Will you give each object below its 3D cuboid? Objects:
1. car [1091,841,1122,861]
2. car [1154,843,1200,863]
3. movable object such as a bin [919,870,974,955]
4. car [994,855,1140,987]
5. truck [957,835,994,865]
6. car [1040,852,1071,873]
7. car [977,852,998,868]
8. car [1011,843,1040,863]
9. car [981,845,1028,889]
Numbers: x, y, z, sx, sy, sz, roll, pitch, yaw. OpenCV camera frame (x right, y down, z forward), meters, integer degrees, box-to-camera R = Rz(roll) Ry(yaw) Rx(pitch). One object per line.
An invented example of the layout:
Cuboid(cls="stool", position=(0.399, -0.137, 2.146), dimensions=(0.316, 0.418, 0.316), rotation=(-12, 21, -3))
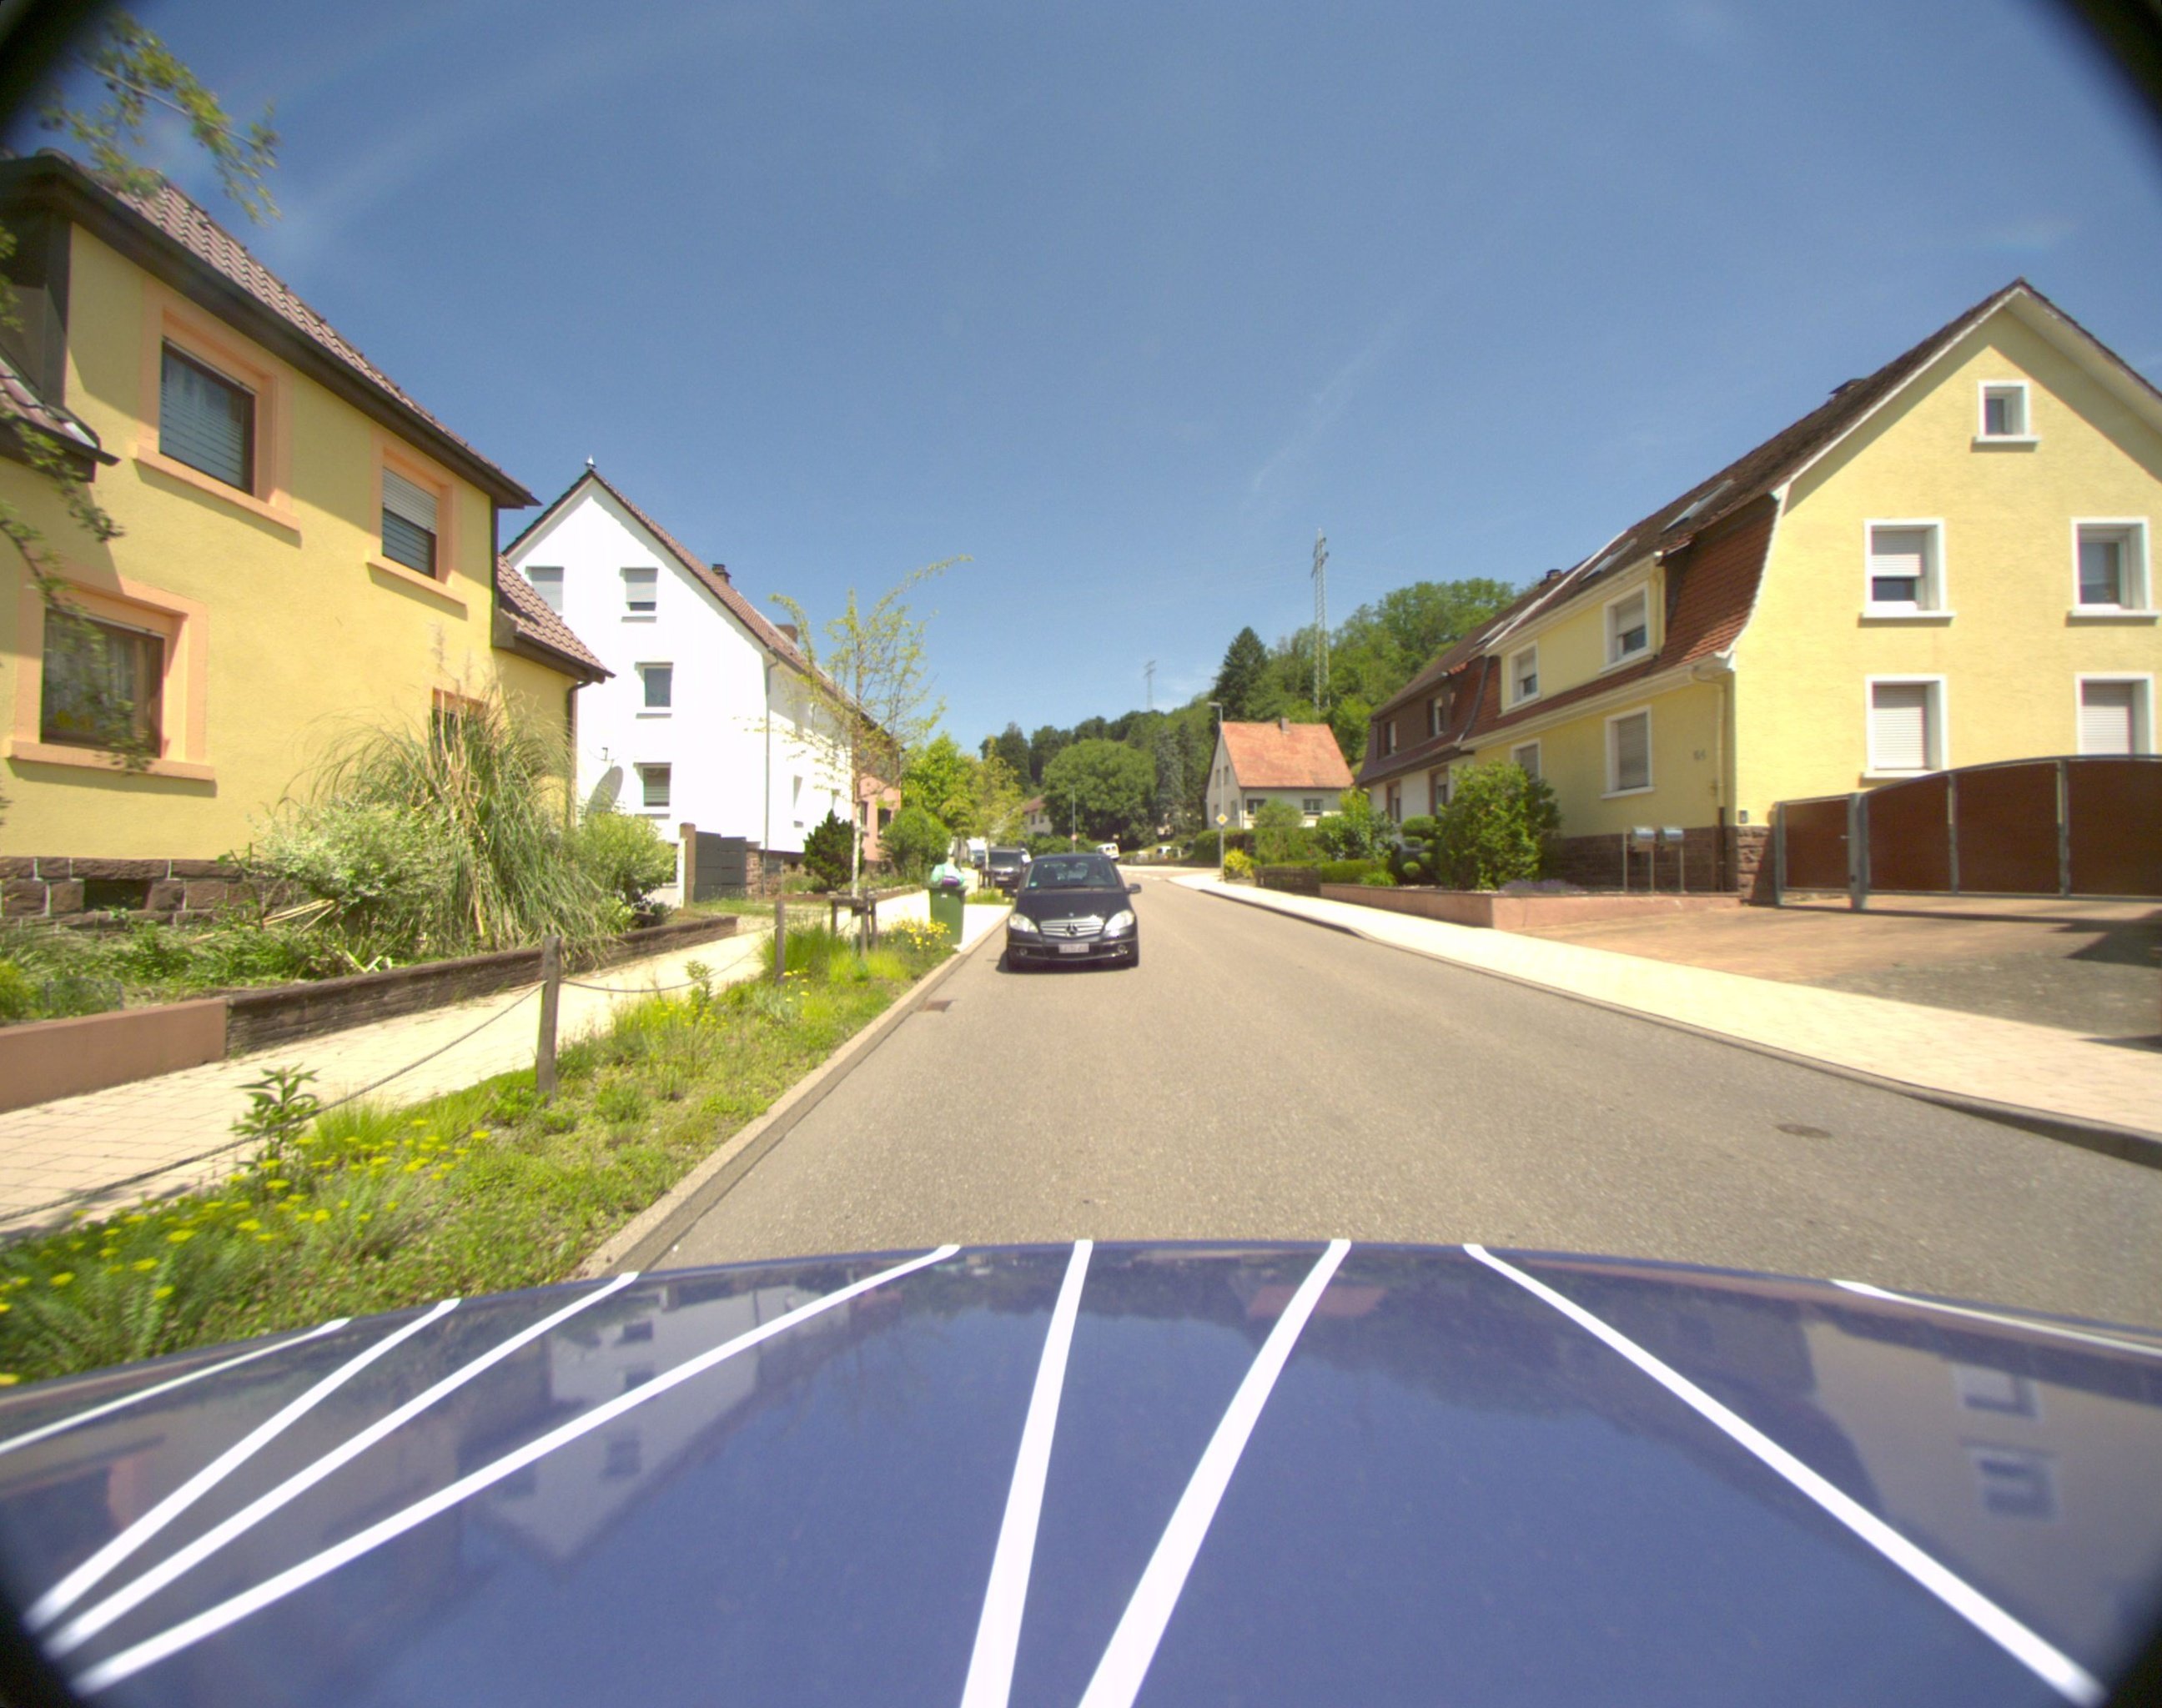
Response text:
Cuboid(cls="car", position=(2.519, -0.292, 75.714), dimensions=(1.706, 1.938, 3.993), rotation=(-2, 1, -19))
Cuboid(cls="car", position=(9.230, -0.141, 73.097), dimensions=(4.004, 1.779, 1.807), rotation=(-2, 1, -23))
Cuboid(cls="movable object such as a bin", position=(-2.311, 0.986, 13.144), dimensions=(0.794, 1.387, 0.925), rotation=(-1, 1, -3))
Cuboid(cls="car", position=(-0.118, 0.849, 11.597), dimensions=(1.790, 1.595, 4.075), rotation=(-1, 0, 2))
Cuboid(cls="truck", position=(-12.802, -0.413, 91.601), dimensions=(2.810, 3.394, 8.106), rotation=(-2, 1, -19))
Cuboid(cls="car", position=(-1.888, 0.587, 54.271), dimensions=(1.911, 1.342, 3.997), rotation=(-1, 1, -6))
Cuboid(cls="car", position=(-8.444, 0.540, 68.259), dimensions=(1.676, 1.368, 3.996), rotation=(0, 0, -10))
Cuboid(cls="car", position=(-5.203, -0.095, 70.931), dimensions=(1.970, 1.823, 4.459), rotation=(0, 0, -13))
Cuboid(cls="car", position=(-3.358, 0.526, 34.059), dimensions=(1.860, 1.832, 4.668), rotation=(1, 0, -4))
